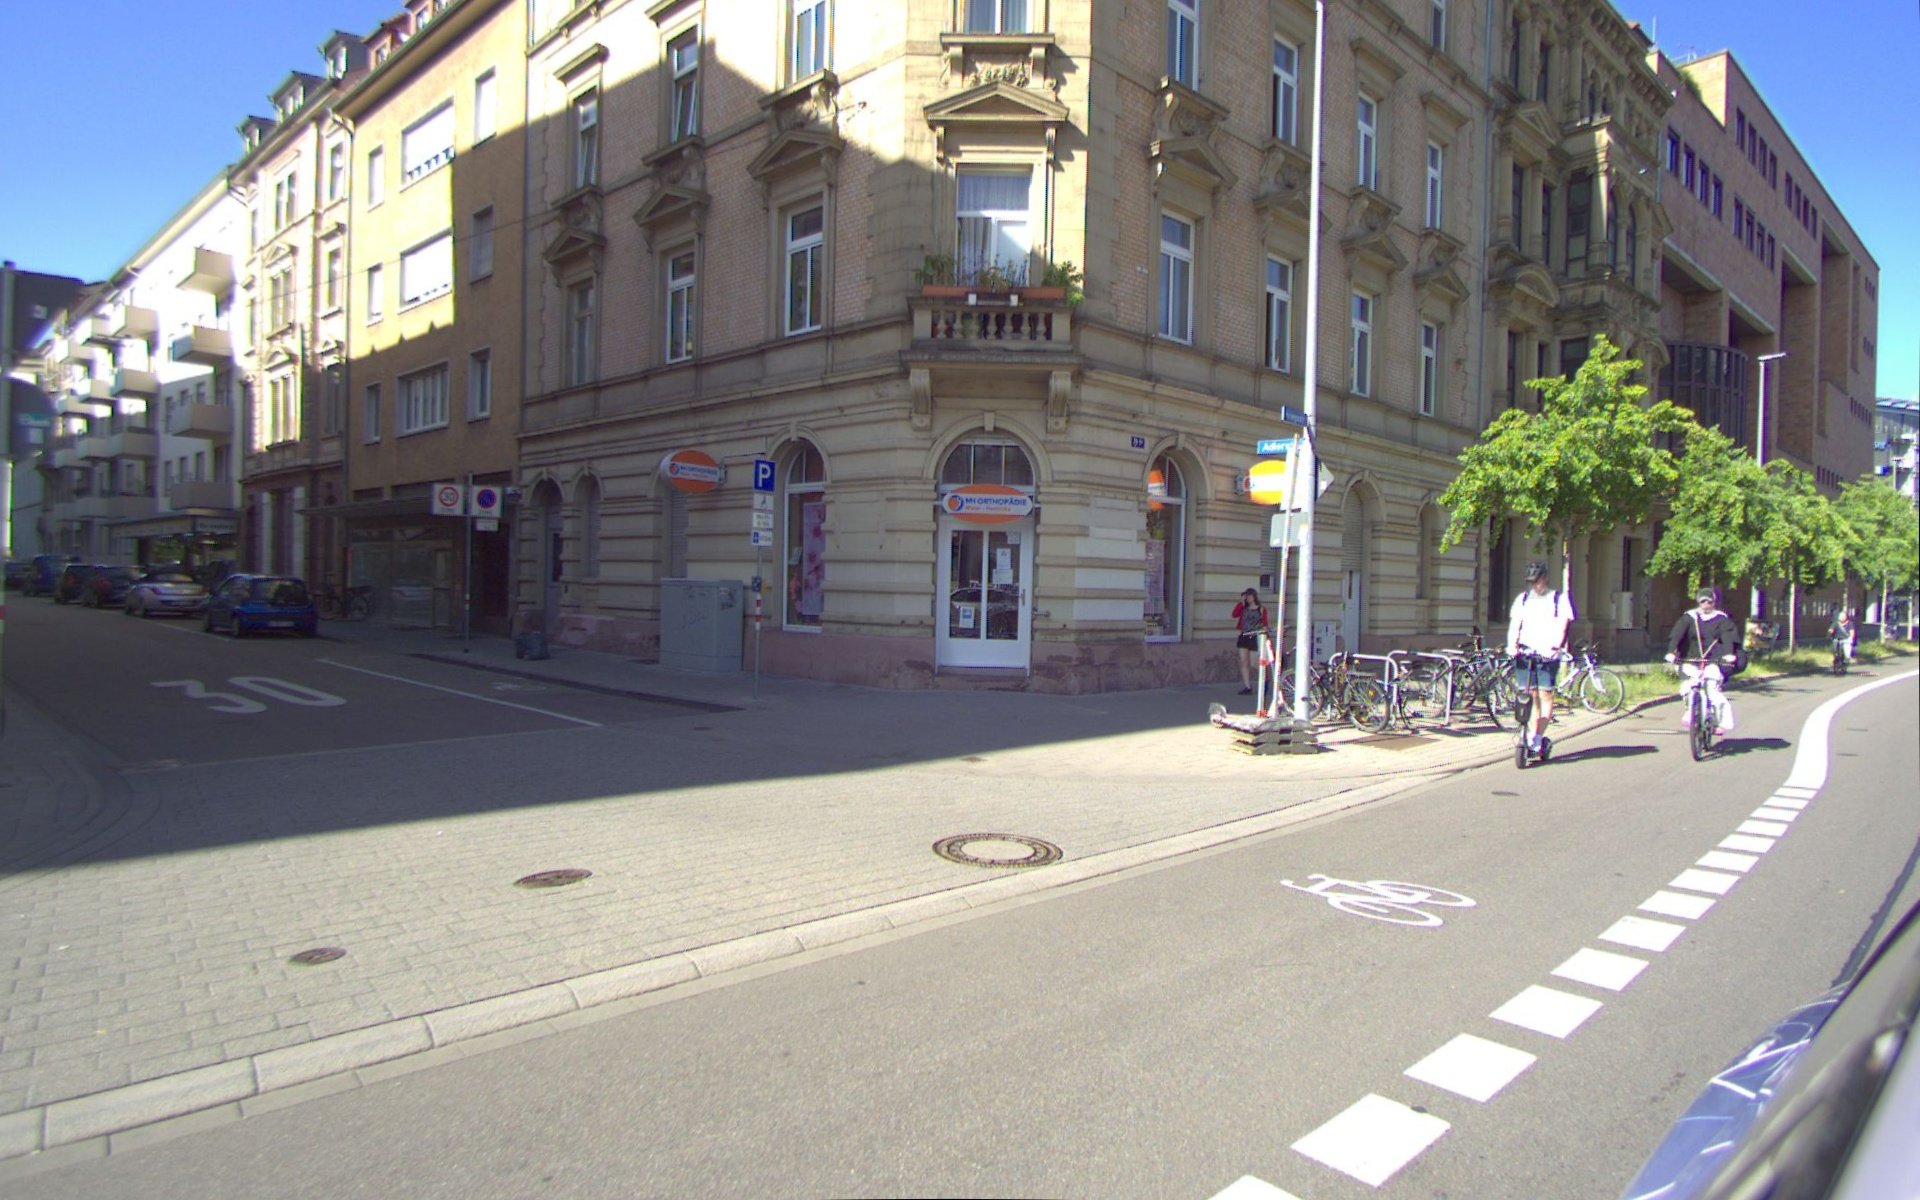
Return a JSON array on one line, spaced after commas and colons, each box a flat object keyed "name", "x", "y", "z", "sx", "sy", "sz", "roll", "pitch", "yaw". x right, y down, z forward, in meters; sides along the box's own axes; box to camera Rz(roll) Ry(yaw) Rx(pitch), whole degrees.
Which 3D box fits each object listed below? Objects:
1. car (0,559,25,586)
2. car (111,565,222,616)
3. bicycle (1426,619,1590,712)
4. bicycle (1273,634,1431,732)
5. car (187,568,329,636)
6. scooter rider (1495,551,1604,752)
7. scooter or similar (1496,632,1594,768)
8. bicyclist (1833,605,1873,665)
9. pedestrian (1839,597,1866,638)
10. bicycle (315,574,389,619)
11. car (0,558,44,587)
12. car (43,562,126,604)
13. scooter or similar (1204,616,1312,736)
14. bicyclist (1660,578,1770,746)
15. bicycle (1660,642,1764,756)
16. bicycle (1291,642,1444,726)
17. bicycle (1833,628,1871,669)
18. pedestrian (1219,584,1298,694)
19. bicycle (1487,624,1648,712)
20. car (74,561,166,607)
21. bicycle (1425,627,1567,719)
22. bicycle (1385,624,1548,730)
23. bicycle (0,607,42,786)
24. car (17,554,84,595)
[{"name": "car", "x": -53.515, "y": -1.537, "z": 56.364, "sx": 3.759, "sy": 1.450, "sz": 1.775, "roll": 2, "pitch": 1, "yaw": 42}, {"name": "car", "x": -23.517, "y": -0.303, "z": 29.944, "sx": 3.982, "sy": 1.351, "sz": 1.775, "roll": 2, "pitch": -1, "yaw": 40}, {"name": "bicycle", "x": 8.195, "y": 0.942, "z": 15.224, "sx": 0.697, "sy": 1.142, "sz": 2.000, "roll": 1, "pitch": 3, "yaw": -39}, {"name": "bicycle", "x": 4.563, "y": 0.934, "z": 11.895, "sx": 0.595, "sy": 0.955, "sz": 1.677, "roll": 1, "pitch": 1, "yaw": -33}, {"name": "car", "x": -16.726, "y": 0.029, "z": 24.061, "sx": 3.982, "sy": 1.438, "sz": 1.775, "roll": 2, "pitch": -1, "yaw": 40}, {"name": "scooter rider", "x": 5.844, "y": 0.488, "z": 10.029, "sx": 0.885, "sy": 1.884, "sz": 0.667, "roll": 1, "pitch": -2, "yaw": -41}, {"name": "scooter or similar", "x": 5.802, "y": 0.952, "z": 10.019, "sx": 1.150, "sy": 1.242, "sz": 0.491, "roll": 1, "pitch": -1, "yaw": -42}, {"name": "bicyclist", "x": 23.646, "y": 0.917, "z": 26.803, "sx": 0.893, "sy": 1.557, "sz": 0.658, "roll": 1, "pitch": -2, "yaw": -41}, {"name": "pedestrian", "x": 42.071, "y": 0.809, "z": 47.722, "sx": 1.087, "sy": 1.906, "sz": 0.789, "roll": 1, "pitch": 1, "yaw": -41}, {"name": "bicycle", "x": -16.868, "y": -0.104, "z": 28.080, "sx": 1.988, "sy": 1.193, "sz": 0.629, "roll": 2, "pitch": 0, "yaw": 19}, {"name": "car", "x": -49.321, "y": -1.460, "z": 52.872, "sx": 3.759, "sy": 1.450, "sz": 1.775, "roll": 2, "pitch": 1, "yaw": 42}, {"name": "car", "x": -32.218, "y": -0.651, "z": 37.208, "sx": 3.757, "sy": 1.450, "sz": 1.776, "roll": 2, "pitch": 1, "yaw": 40}, {"name": "scooter or similar", "x": 3.297, "y": 0.814, "z": 11.254, "sx": 0.411, "sy": 1.204, "sz": 1.115, "roll": 2, "pitch": 1, "yaw": -33}, {"name": "bicyclist", "x": 8.211, "y": 0.645, "z": 11.006, "sx": 0.853, "sy": 1.733, "sz": 0.780, "roll": 1, "pitch": -2, "yaw": -41}, {"name": "bicycle", "x": 8.269, "y": 1.043, "z": 11.106, "sx": 1.761, "sy": 1.106, "sz": 0.558, "roll": 1, "pitch": -1, "yaw": -42}, {"name": "bicycle", "x": 4.966, "y": 0.997, "z": 12.432, "sx": 0.595, "sy": 0.831, "sz": 1.677, "roll": 1, "pitch": 2, "yaw": -34}, {"name": "bicycle", "x": 23.613, "y": 1.273, "z": 26.778, "sx": 1.481, "sy": 1.040, "sz": 0.558, "roll": 1, "pitch": -1, "yaw": -42}, {"name": "pedestrian", "x": 4.415, "y": 0.550, "z": 14.967, "sx": 0.911, "sy": 1.561, "sz": 0.710, "roll": 1, "pitch": 1, "yaw": -41}, {"name": "bicycle", "x": 9.464, "y": 1.017, "z": 15.806, "sx": 1.993, "sy": 1.106, "sz": 0.835, "roll": 5, "pitch": 3, "yaw": 40}, {"name": "car", "x": -28.281, "y": -0.552, "z": 34.045, "sx": 3.757, "sy": 1.450, "sz": 1.776, "roll": 2, "pitch": 1, "yaw": 40}, {"name": "bicycle", "x": 7.439, "y": 0.983, "z": 14.118, "sx": 0.595, "sy": 1.058, "sz": 1.605, "roll": 1, "pitch": 3, "yaw": -37}, {"name": "bicycle", "x": 6.433, "y": 0.939, "z": 12.941, "sx": 0.595, "sy": 1.114, "sz": 1.729, "roll": 1, "pitch": 3, "yaw": -37}, {"name": "bicycle", "x": -7.103, "y": 0.670, "z": 7.155, "sx": 0.641, "sy": 1.186, "sz": 1.823, "roll": 5, "pitch": -2, "yaw": -36}, {"name": "car", "x": -39.735, "y": -1.120, "z": 44.188, "sx": 3.758, "sy": 1.686, "sz": 1.775, "roll": 2, "pitch": 1, "yaw": 42}]
